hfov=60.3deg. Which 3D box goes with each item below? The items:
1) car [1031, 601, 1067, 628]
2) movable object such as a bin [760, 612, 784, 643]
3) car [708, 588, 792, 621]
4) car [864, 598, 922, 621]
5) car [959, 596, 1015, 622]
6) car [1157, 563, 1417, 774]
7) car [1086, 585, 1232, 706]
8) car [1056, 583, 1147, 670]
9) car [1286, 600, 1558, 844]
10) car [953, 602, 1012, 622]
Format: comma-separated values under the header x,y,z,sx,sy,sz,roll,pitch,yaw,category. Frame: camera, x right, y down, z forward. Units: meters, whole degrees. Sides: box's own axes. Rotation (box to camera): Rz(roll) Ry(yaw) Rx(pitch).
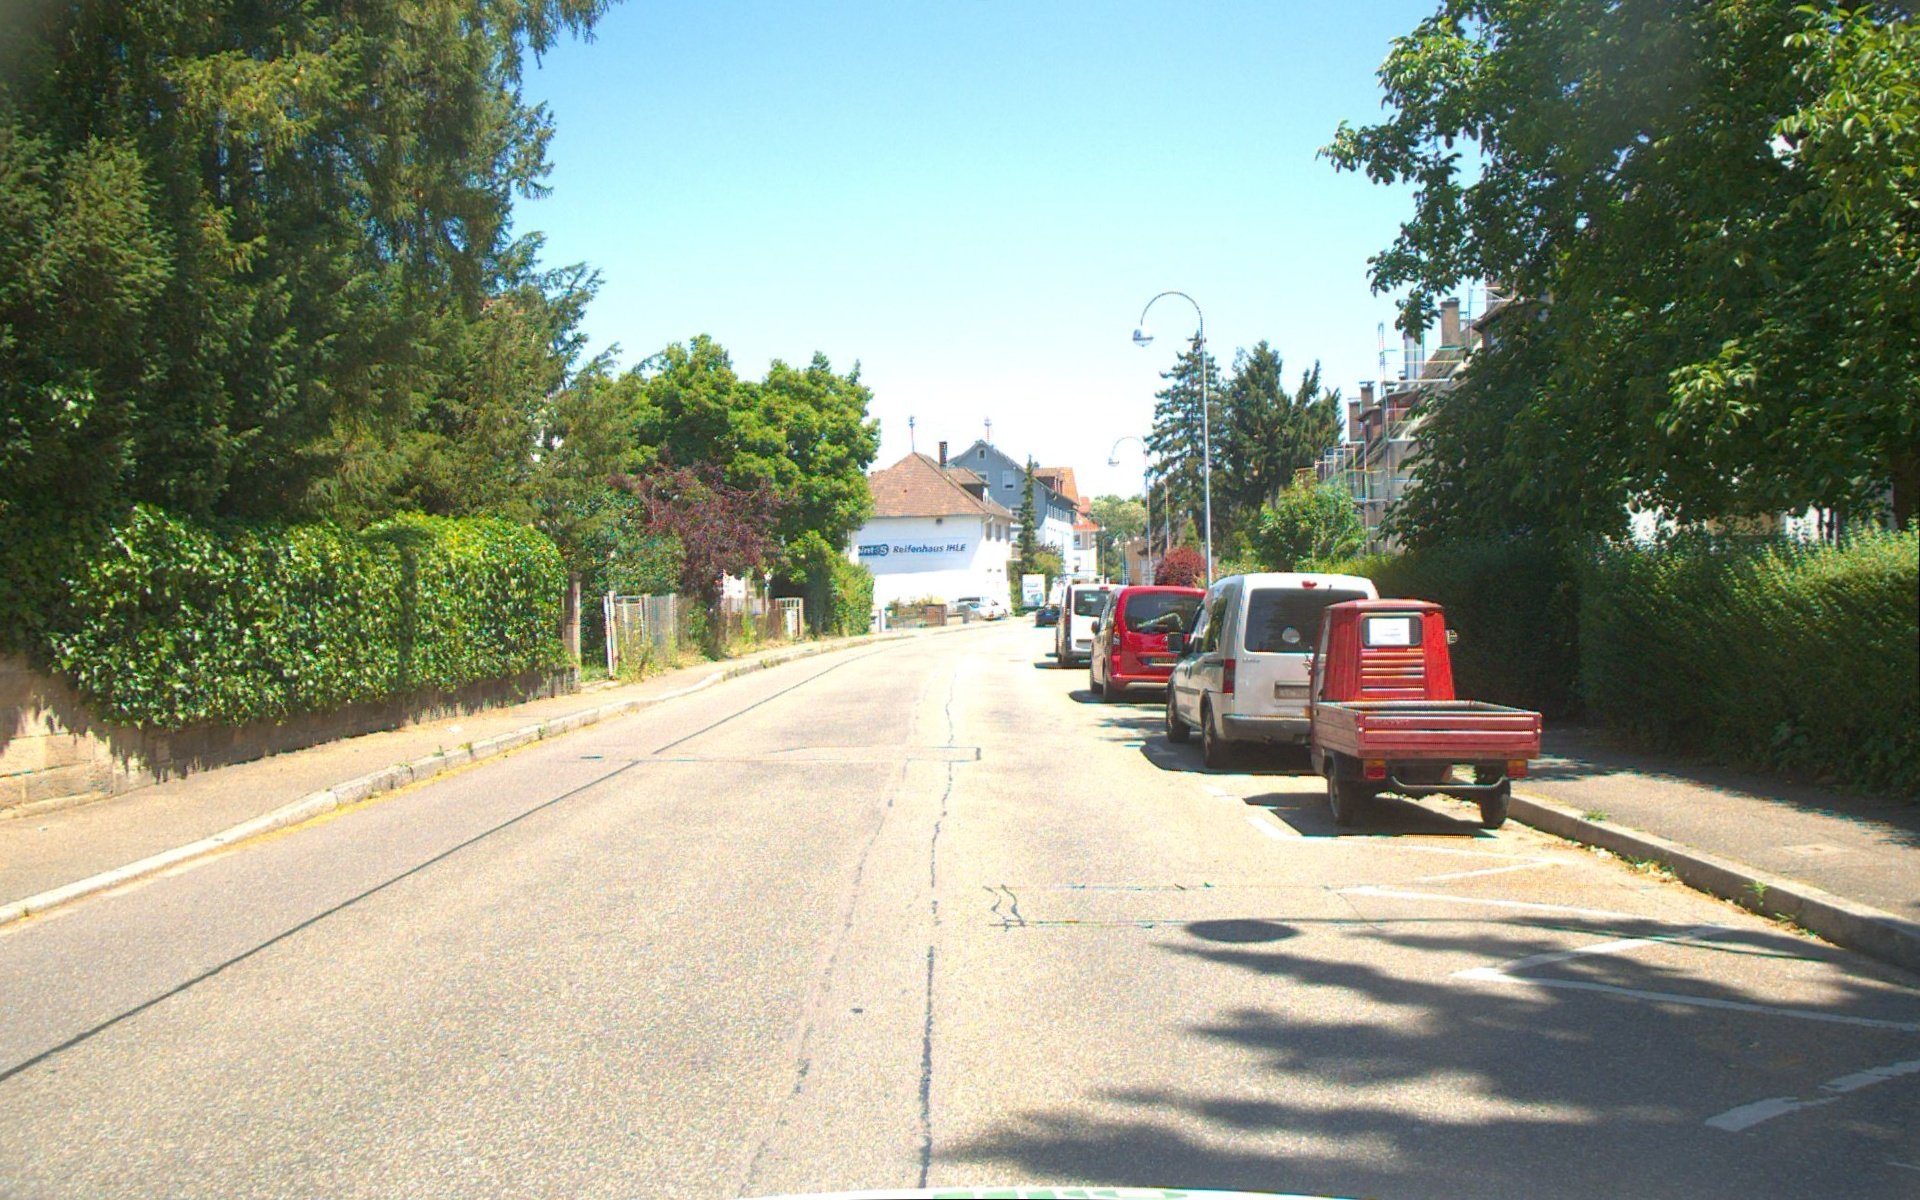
x,y,z,sx,sy,sz,roll,pitch,yaw,category
5.182,0.817,95.644,1.756,1.537,4.003,1,0,7,car
-6.085,0.887,53.555,0.693,1.014,0.474,-1,0,0,movable object such as a bin
-10.156,0.221,80.262,3.907,1.537,1.799,1,0,-3,car
-4.549,0.639,112.297,1.787,1.536,3.934,-1,1,-44,car
2.014,0.663,122.585,4.041,1.805,1.830,-1,0,5,car
3.131,0.607,16.731,1.710,1.813,4.543,1,0,0,car
3.110,0.683,26.655,1.864,1.758,4.391,1,0,1,car
3.351,0.604,39.944,1.863,1.958,4.719,0,0,1,car
3.188,0.773,11.815,1.234,1.522,2.709,1,0,2,car
1.640,0.875,120.072,4.040,1.419,1.830,-1,0,8,car
